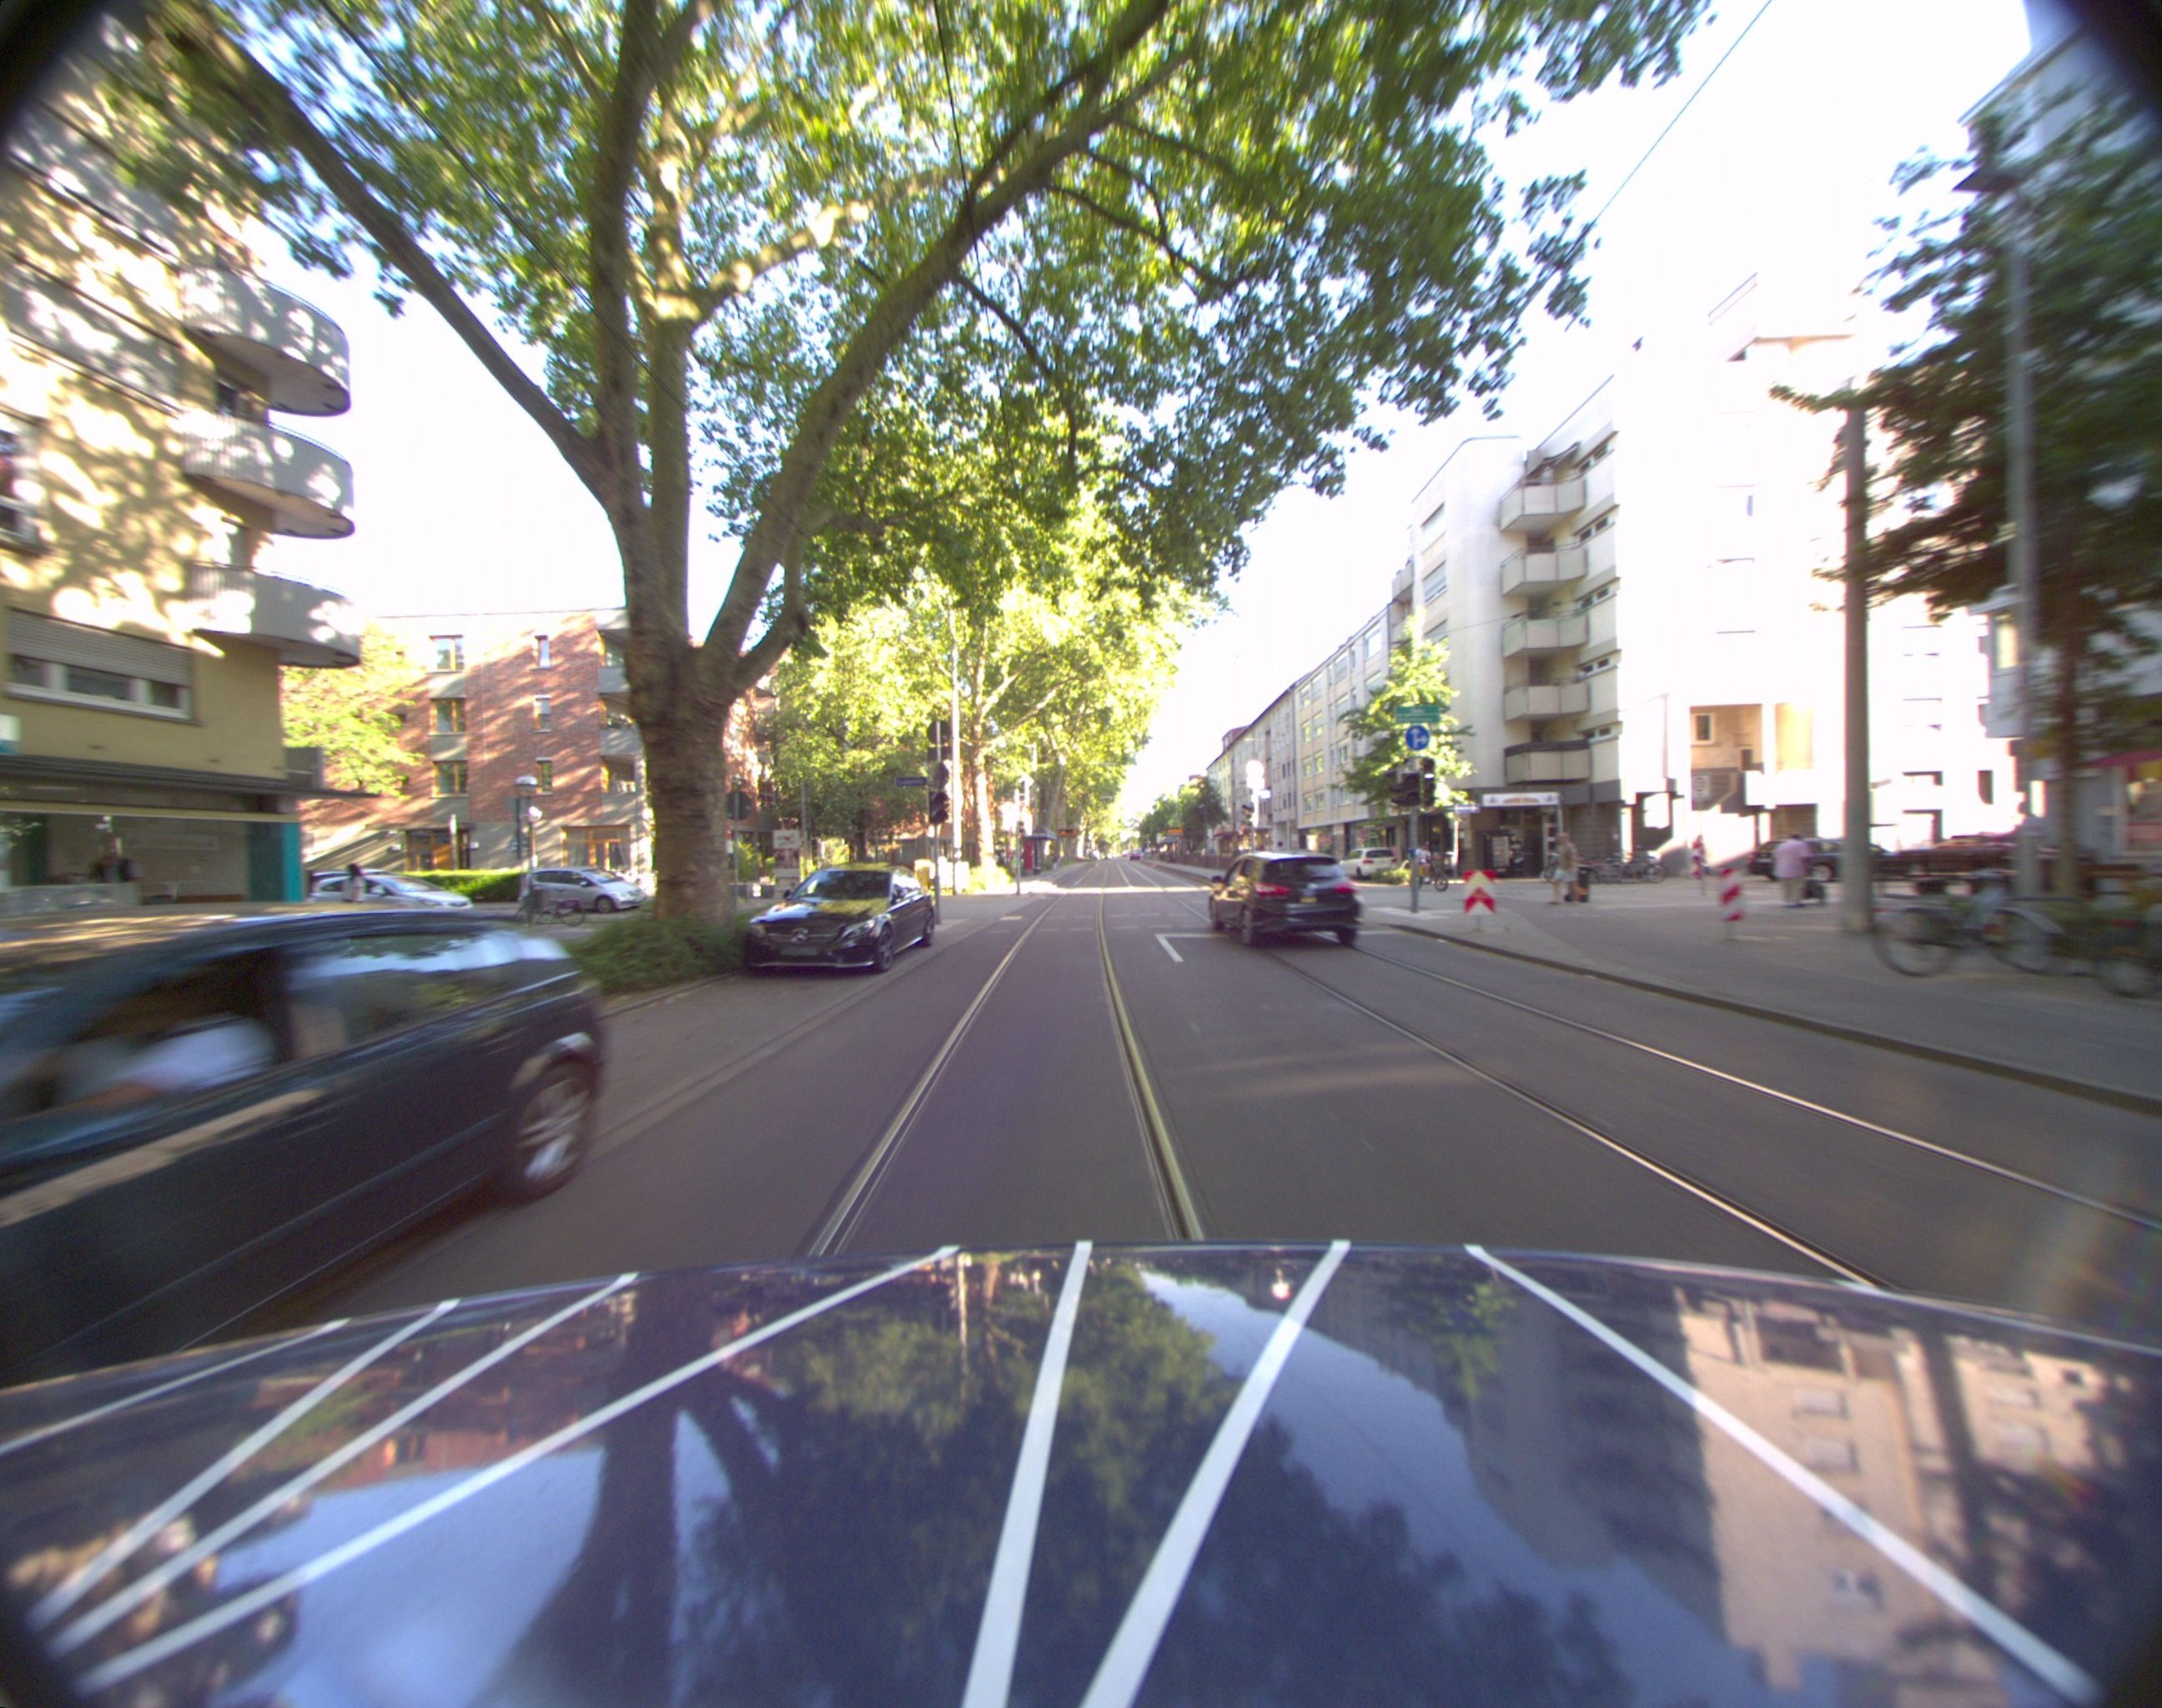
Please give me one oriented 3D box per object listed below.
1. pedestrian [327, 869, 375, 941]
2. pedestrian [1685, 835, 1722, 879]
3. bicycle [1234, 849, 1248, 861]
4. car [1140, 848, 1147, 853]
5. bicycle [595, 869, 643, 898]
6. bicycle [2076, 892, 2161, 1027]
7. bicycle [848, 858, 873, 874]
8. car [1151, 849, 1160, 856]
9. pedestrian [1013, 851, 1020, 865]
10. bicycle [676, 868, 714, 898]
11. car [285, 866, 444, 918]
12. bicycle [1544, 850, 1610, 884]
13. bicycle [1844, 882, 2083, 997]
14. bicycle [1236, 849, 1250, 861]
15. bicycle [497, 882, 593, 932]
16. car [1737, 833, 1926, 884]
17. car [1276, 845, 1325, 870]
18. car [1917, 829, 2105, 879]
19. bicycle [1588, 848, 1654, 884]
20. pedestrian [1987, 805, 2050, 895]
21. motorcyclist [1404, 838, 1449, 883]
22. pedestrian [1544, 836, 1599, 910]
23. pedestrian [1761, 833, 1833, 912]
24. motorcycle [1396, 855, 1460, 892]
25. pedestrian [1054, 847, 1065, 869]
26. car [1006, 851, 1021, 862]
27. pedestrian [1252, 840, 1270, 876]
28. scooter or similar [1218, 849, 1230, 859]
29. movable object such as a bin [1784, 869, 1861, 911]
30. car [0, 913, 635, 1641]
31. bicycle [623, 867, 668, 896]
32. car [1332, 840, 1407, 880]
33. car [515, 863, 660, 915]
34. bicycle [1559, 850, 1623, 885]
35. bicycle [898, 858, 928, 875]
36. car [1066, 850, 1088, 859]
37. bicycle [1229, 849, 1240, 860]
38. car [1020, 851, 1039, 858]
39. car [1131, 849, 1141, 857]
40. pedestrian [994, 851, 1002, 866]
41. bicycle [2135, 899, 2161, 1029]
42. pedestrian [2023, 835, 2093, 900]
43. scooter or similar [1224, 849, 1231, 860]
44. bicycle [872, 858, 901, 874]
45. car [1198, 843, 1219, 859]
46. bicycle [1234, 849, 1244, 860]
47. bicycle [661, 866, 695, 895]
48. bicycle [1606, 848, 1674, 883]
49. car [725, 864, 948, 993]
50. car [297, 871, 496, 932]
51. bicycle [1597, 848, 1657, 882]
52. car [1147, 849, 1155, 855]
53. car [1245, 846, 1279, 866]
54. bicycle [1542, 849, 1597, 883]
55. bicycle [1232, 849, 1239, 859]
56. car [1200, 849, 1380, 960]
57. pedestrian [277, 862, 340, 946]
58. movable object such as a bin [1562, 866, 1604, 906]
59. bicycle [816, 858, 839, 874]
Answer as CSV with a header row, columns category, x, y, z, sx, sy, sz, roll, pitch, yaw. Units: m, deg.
category,x,y,z,sx,sy,sz,roll,pitch,yaw
pedestrian,-16.178,1.099,16.842,0.701,1.530,0.692,0,1,43
pedestrian,22.376,0.107,27.317,0.727,1.547,0.726,-1,1,2
bicycle,16.096,0.095,76.603,0.561,1.150,2.028,-1,0,-13
car,19.930,-1.107,243.712,1.998,1.521,3.678,-1,0,2
bicycle,-19.645,1.228,32.381,0.732,1.150,2.051,0,1,2
bicycle,9.466,0.829,6.226,1.834,1.001,0.658,-2,1,-3
bicycle,-16.301,0.875,56.187,1.681,1.150,0.572,0,1,8
car,16.990,-0.417,173.065,1.998,1.521,3.679,-1,0,5
pedestrian,-7.820,0.432,92.250,0.710,1.681,0.749,-1,1,1
bicycle,-16.029,1.186,31.614,0.601,1.150,1.698,0,1,5
car,-25.307,1.311,26.935,3.871,1.683,1.866,-1,1,2
bicycle,17.423,0.456,26.709,1.862,1.150,0.572,-1,1,6
bicycle,8.874,0.834,7.677,1.695,1.001,0.658,-2,1,-3
bicycle,16.355,0.078,76.963,0.561,1.150,2.028,-1,0,-13
bicycle,-13.279,1.299,18.882,1.799,1.150,0.744,0,1,-20
car,24.709,0.140,25.151,4.290,1.495,1.895,-1,1,3
car,13.760,0.196,47.809,1.960,1.535,4.389,0,0,2
car,30.070,-0.001,24.676,3.778,1.495,1.805,-1,1,3
bicycle,18.228,0.408,25.696,1.785,1.150,0.573,-1,1,33
pedestrian,17.837,-0.085,14.462,0.770,1.650,0.747,-2,1,-38
motorcyclist,11.342,0.191,24.984,0.877,1.432,1.014,-1,1,-17
pedestrian,11.398,0.429,17.692,0.759,1.661,0.768,-1,1,-3
pedestrian,14.455,0.359,15.365,0.727,1.547,0.768,-1,1,-3
motorcycle,11.361,0.606,24.937,0.852,1.157,1.912,-1,0,-17
pedestrian,-1.689,0.298,58.693,0.768,1.650,0.917,-1,1,-4
car,-9.402,0.351,105.961,1.657,1.499,3.962,-1,0,2
pedestrian,8.115,0.170,34.302,0.655,1.576,0.772,-1,1,3
scooter or similar,15.883,0.020,84.332,0.447,1.167,1.272,-2,1,-34
movable object such as a bin,15.355,0.733,15.743,1.197,0.753,0.665,-3,1,-19
car,-3.376,1.059,2.074,1.869,1.429,4.225,0,0,-1
bicycle,-18.361,1.136,32.096,0.637,1.150,1.983,0,1,5
car,13.465,0.255,35.706,1.882,1.641,4.358,-3,0,1
car,-17.331,1.214,26.806,3.871,1.683,1.866,-1,1,2
bicycle,17.284,0.453,25.803,1.785,1.150,0.573,-1,1,33
bicycle,-12.170,0.911,55.169,2.036,1.150,0.572,0,1,3
car,-0.674,0.155,135.240,3.871,1.521,2.000,-1,1,3
bicycle,16.370,0.100,81.050,0.572,1.150,2.037,-1,0,-3
car,-10.791,0.134,159.688,3.674,1.521,2.000,-1,1,3
car,10.528,-0.208,146.345,1.766,1.579,4.000,-1,0,1
pedestrian,-9.493,0.512,86.951,0.768,1.650,0.917,-1,1,2
bicycle,9.358,0.835,5.788,1.834,1.001,0.658,-2,1,-3
pedestrian,19.287,0.258,14.997,0.751,1.234,0.767,-1,1,-31
scooter or similar,15.970,0.024,83.009,0.446,1.167,1.274,-1,1,-3
bicycle,-14.336,0.871,56.063,2.035,1.150,0.572,0,1,8
car,15.529,-0.393,92.652,1.808,1.923,4.049,-1,0,1
bicycle,16.434,0.021,79.115,0.494,1.150,1.751,-1,0,-3
bicycle,-17.106,1.118,32.282,0.601,1.150,1.697,0,1,-2
bicycle,19.161,0.404,26.084,1.786,1.150,0.572,-1,1,13
car,-3.450,0.953,11.859,1.769,1.454,5.012,-1,0,1
car,-18.776,1.296,20.970,3.871,1.542,1.867,-1,-2,2
bicycle,19.276,0.369,26.843,1.789,1.150,0.572,-1,1,-5
car,17.643,-0.546,192.207,1.998,1.521,3.679,-1,0,5
car,14.001,0.158,59.038,1.799,1.455,4.282,0,0,2
bicycle,17.851,0.426,27.744,2.039,1.150,0.571,-1,1,-20
bicycle,16.974,-0.012,83.527,0.513,1.150,1.688,-1,0,5
car,3.420,0.756,13.328,1.876,1.580,4.146,-2,0,-2
pedestrian,-16.139,1.024,15.888,0.704,1.673,0.660,-1,1,-25
movable object such as a bin,12.234,0.767,18.523,0.540,0.927,0.649,-1,1,-15
bicycle,-19.427,0.900,58.300,0.707,1.150,2.039,1,1,12
